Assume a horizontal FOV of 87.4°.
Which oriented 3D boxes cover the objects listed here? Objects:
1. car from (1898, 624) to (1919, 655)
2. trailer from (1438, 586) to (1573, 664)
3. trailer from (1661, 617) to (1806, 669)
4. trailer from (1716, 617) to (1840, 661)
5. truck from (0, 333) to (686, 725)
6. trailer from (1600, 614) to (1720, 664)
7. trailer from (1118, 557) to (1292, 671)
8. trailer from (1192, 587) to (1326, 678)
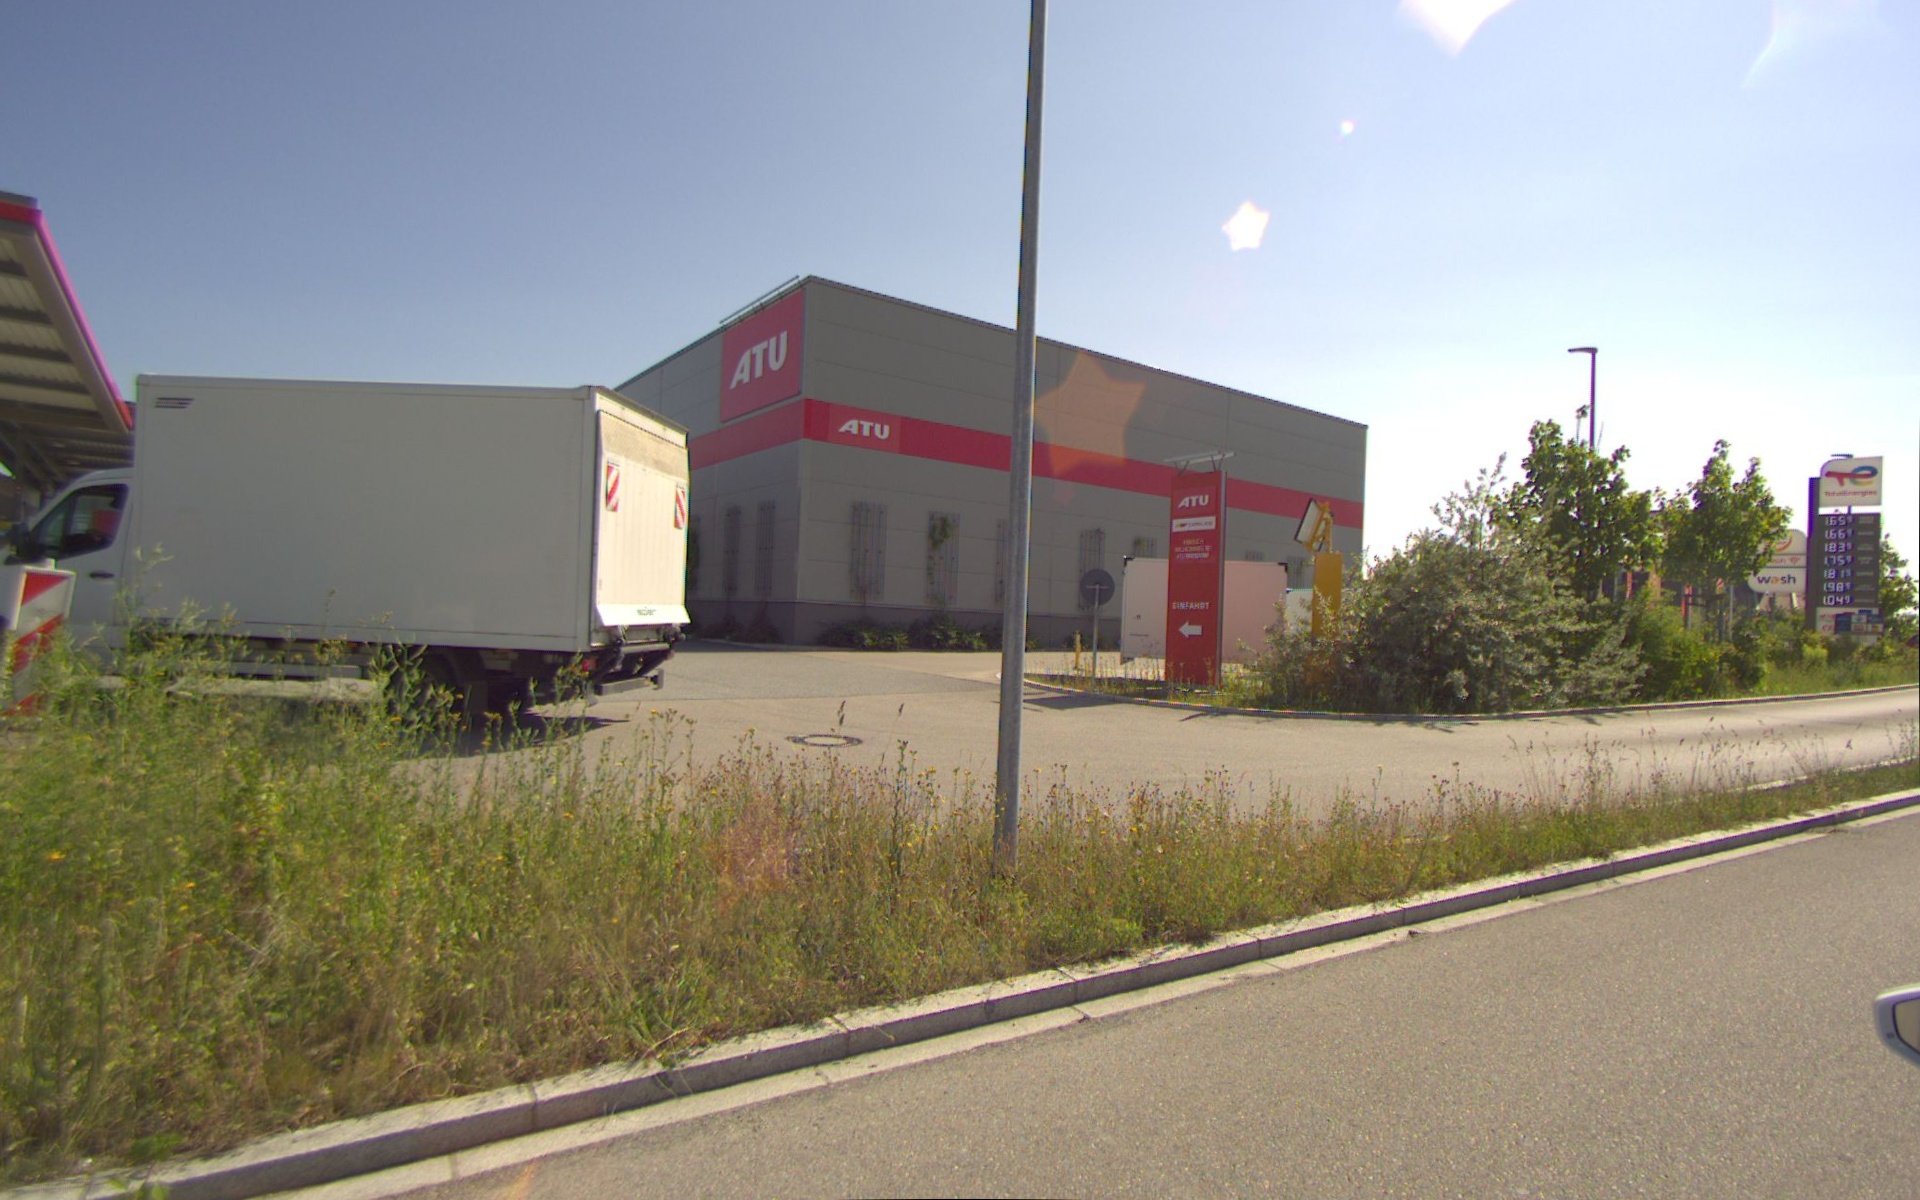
[{"bbox_3d":[51.720,2.130,52.353,1.842,1.639,3.722,2,0,-16],"label":"car"},{"bbox_3d":[15.248,0.669,28.236,3.180,2.040,1.746,2,0,27],"label":"trailer"},{"bbox_3d":[27.055,1.481,35.279,3.626,1.471,1.707,5,1,24],"label":"trailer"},{"bbox_3d":[34.092,1.599,41.980,3.626,1.795,1.806,0,-1,24],"label":"trailer"},{"bbox_3d":[-6.433,-0.543,10.474,6.792,3.362,2.633,2,0,-16],"label":"truck"},{"bbox_3d":[28.054,1.536,40.383,3.626,1.795,1.806,2,0,24],"label":"trailer"},{"bbox_3d":[4.883,0.247,19.876,3.143,2.040,2.000,2,0,19],"label":"trailer"},{"bbox_3d":[7.311,0.747,24.531,2.688,2.040,1.996,2,0,31],"label":"trailer"}]
